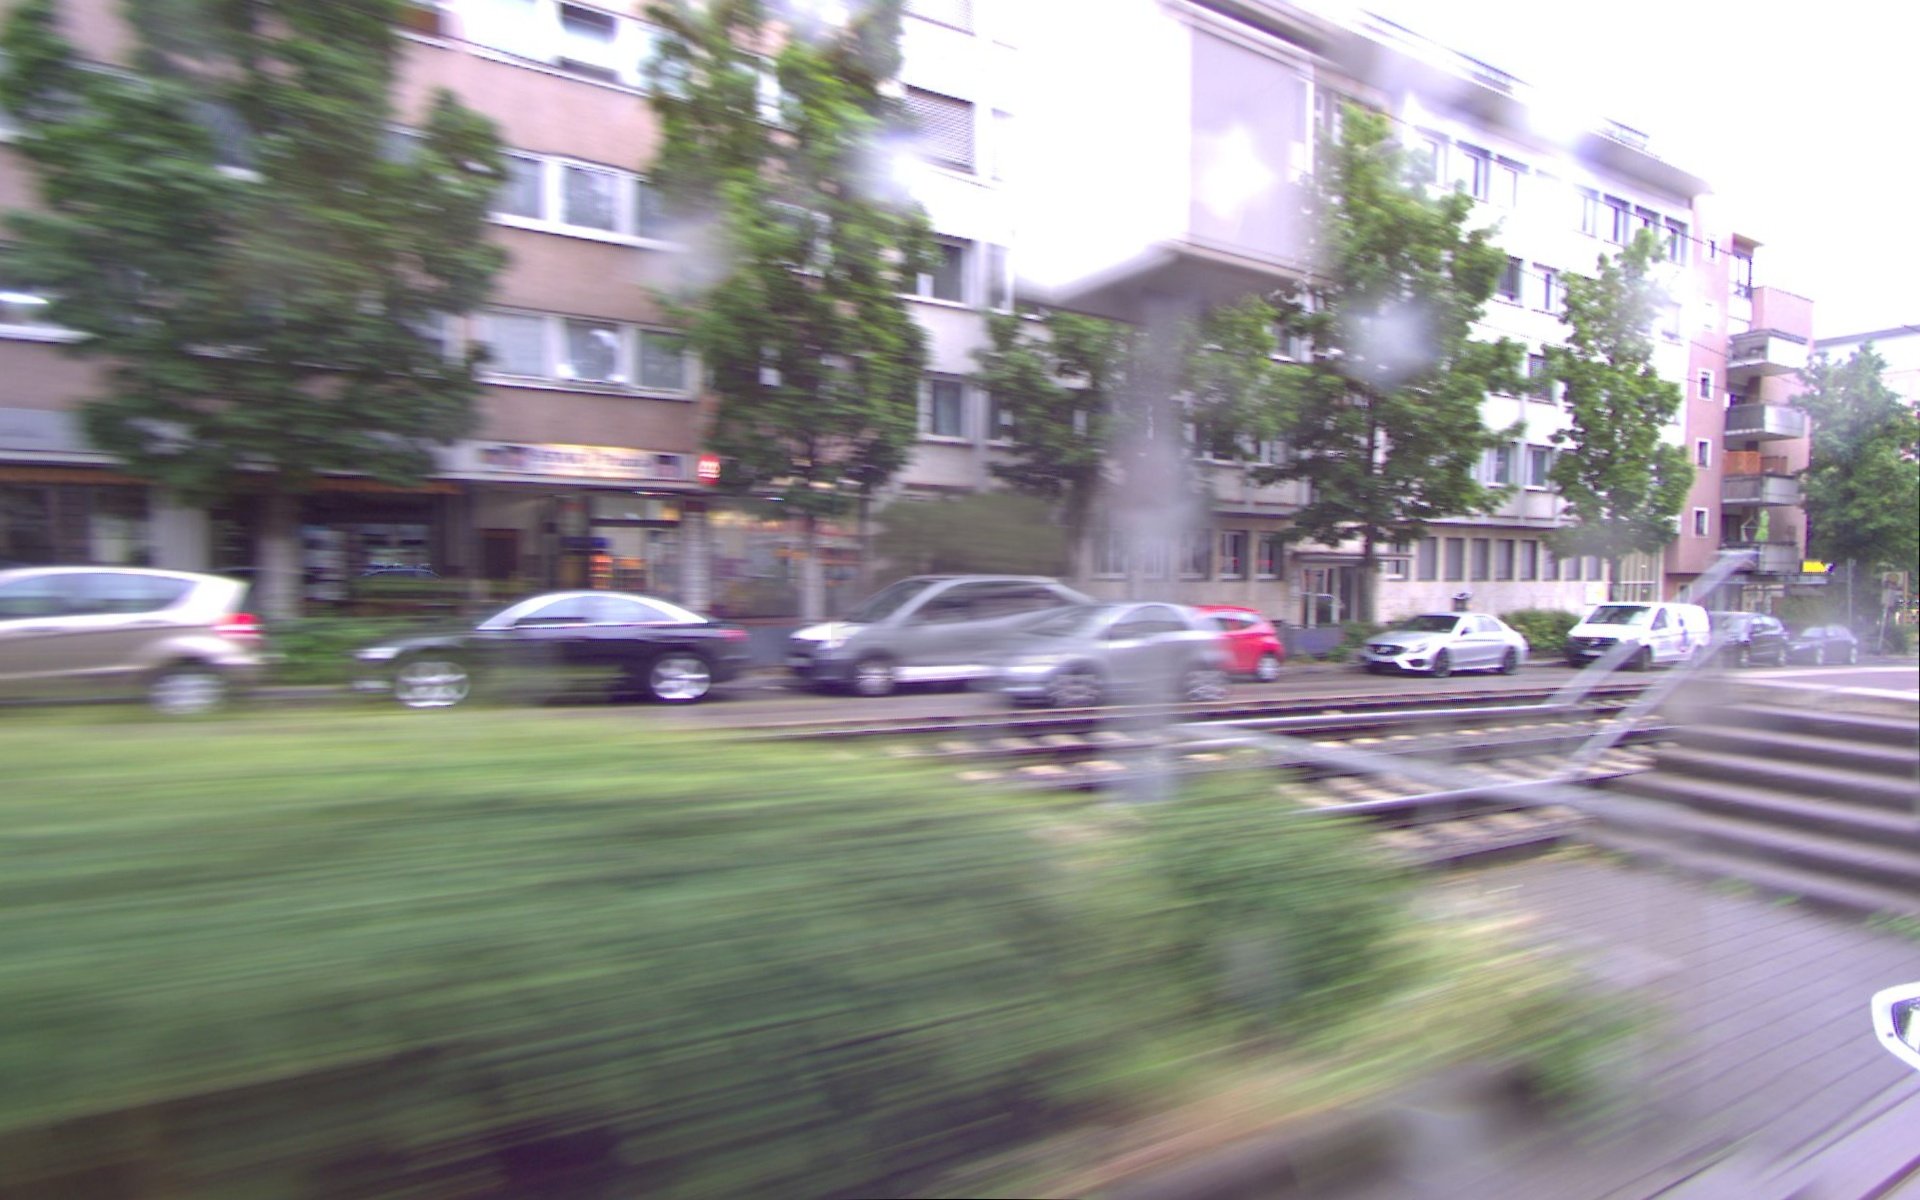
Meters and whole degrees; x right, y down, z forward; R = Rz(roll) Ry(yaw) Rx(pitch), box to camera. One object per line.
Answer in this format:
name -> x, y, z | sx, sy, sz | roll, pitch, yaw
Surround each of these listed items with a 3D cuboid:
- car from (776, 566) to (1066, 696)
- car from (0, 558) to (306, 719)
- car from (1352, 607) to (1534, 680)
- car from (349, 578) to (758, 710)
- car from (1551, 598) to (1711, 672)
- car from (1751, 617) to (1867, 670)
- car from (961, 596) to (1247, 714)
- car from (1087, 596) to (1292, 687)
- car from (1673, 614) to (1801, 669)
car -> -0.558, 0.483, 16.116 | 4.383, 1.841, 1.664 | 2, 0, -32
car -> -9.361, 0.369, 10.609 | 3.975, 1.558, 1.630 | 2, 0, -30
car -> 11.124, 0.980, 23.035 | 4.483, 1.481, 1.681 | 2, 0, -34
car -> -5.150, 0.534, 13.002 | 4.677, 1.459, 1.629 | 2, 0, -32
car -> 18.760, 0.971, 27.996 | 5.205, 1.869, 1.894 | 2, 0, -35
car -> 28.744, 1.463, 33.986 | 4.320, 1.645, 1.630 | 2, 0, -30
car -> 2.122, 0.750, 14.511 | 3.917, 1.481, 1.630 | 2, 0, -30
car -> 4.437, 0.772, 19.277 | 3.762, 1.559, 1.630 | 2, 0, -32
car -> 24.130, 1.290, 31.169 | 4.320, 1.557, 1.630 | 2, 0, -30
